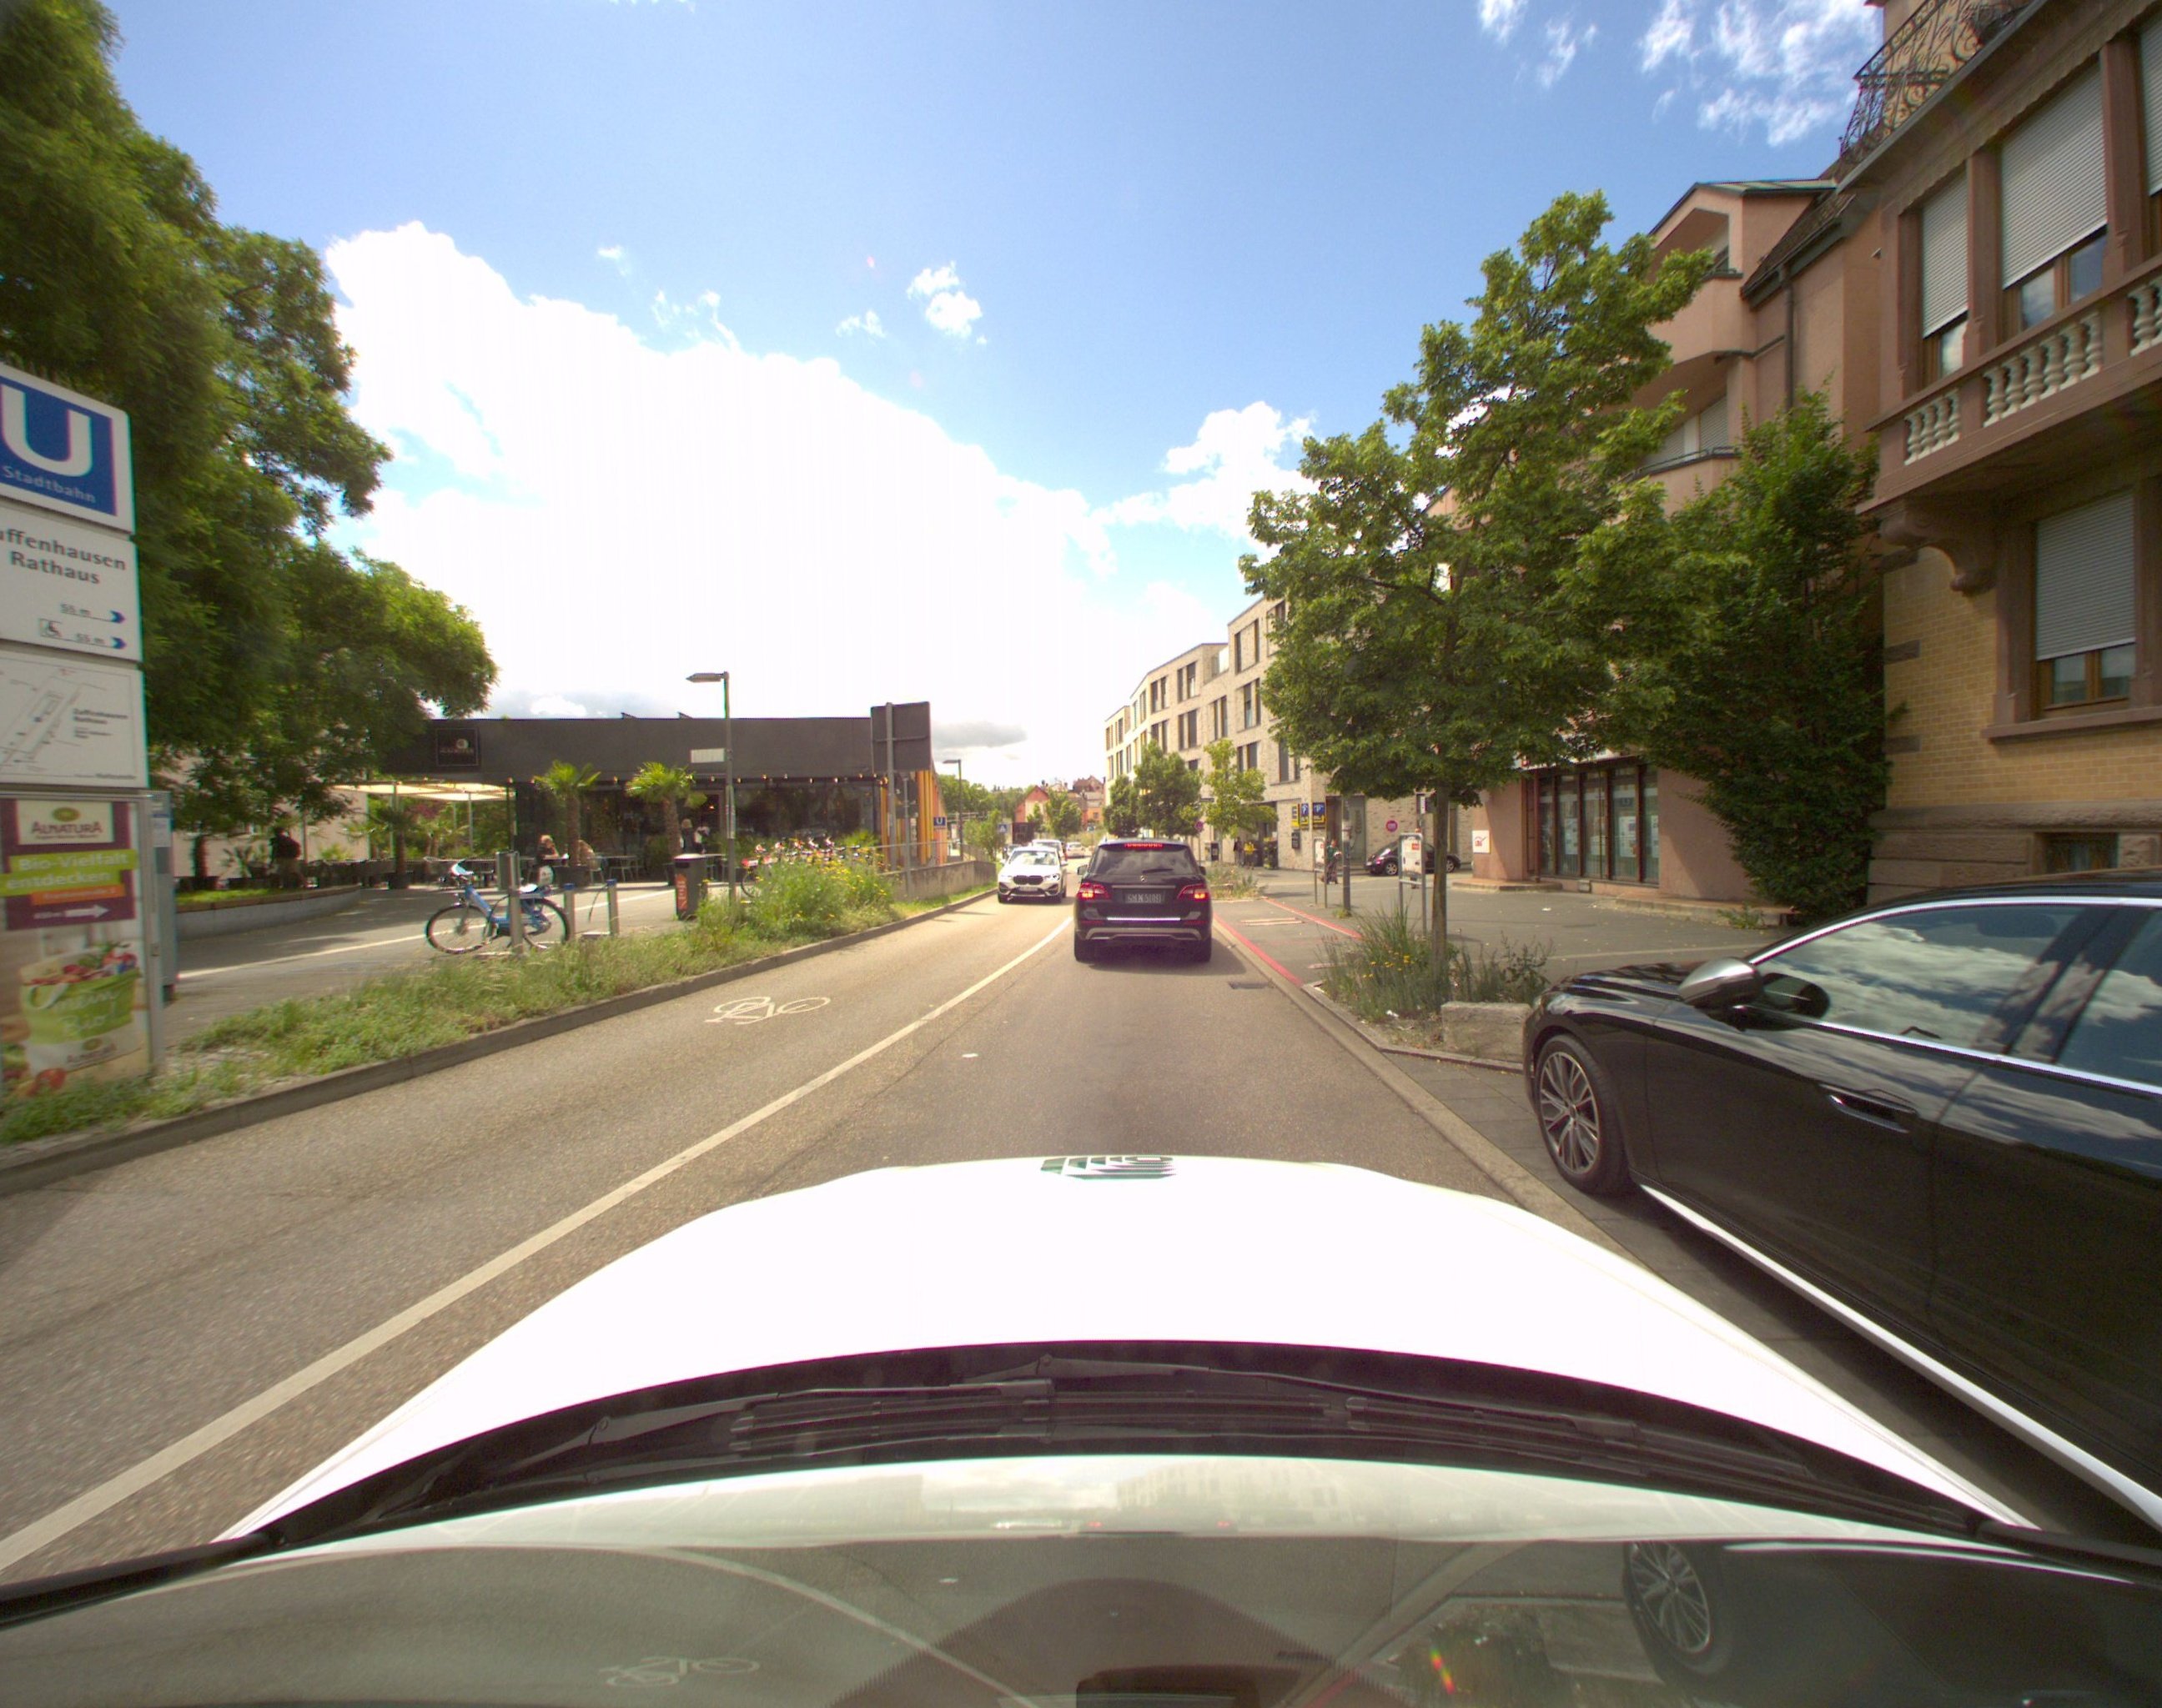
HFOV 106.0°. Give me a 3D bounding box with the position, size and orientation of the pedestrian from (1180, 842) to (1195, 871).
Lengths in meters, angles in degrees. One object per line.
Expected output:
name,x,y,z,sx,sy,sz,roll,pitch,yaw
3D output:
pedestrian,5.999,0.141,45.918,0.809,1.565,0.931,0,-1,3

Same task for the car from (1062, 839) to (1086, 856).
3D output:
car,-0.700,-0.634,77.392,1.692,1.483,3.787,-3,2,-8

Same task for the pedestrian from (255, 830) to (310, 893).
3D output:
pedestrian,-19.929,0.188,20.328,0.731,1.564,0.644,0,-1,3

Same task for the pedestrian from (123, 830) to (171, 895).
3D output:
pedestrian,-26.349,0.252,22.985,0.639,1.808,0.594,0,-1,4

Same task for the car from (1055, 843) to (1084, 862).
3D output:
car,-1.011,-0.153,69.329,1.887,1.465,4.058,-2,1,-8

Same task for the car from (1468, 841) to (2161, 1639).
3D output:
car,2.999,0.696,2.116,1.985,1.414,4.741,-2,0,4

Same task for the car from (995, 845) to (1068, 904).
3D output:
car,-1.384,0.530,24.376,1.816,1.584,4.166,1,1,1

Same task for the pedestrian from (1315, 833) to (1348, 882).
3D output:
pedestrian,8.830,0.117,28.714,0.737,1.638,0.933,-3,1,40

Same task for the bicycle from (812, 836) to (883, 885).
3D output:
bicycle,-5.717,0.155,20.002,1.539,1.127,0.534,-2,1,4

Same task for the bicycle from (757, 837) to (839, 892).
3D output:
bicycle,-6.031,0.218,17.388,1.539,1.127,0.534,-2,1,4

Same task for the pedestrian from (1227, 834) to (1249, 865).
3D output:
pedestrian,9.052,-0.252,47.018,1.016,1.741,0.657,-2,1,-14

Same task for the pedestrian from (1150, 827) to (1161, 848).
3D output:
pedestrian,5.365,-1.165,58.546,0.605,1.472,0.790,-3,2,-2

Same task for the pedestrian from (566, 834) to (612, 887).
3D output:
pedestrian,-13.173,0.170,21.834,0.797,1.379,0.790,0,-1,-9

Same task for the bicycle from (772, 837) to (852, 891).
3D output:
bicycle,-5.962,0.210,18.088,1.539,1.127,0.534,-2,1,4

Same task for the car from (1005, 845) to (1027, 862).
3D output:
car,-5.803,-0.055,72.200,1.771,1.464,4.224,0,1,-7

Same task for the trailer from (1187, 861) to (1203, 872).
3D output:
trailer,5.871,0.666,42.069,0.717,0.528,0.811,-1,0,0

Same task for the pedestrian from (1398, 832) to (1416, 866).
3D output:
pedestrian,15.292,-0.217,38.185,0.524,1.573,0.598,0,-1,-30

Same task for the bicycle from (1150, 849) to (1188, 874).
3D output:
bicycle,4.570,0.370,42.187,1.818,1.201,0.755,-3,0,-4

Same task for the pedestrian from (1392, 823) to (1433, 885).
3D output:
pedestrian,9.437,0.007,23.202,0.714,1.685,0.944,-2,-1,0

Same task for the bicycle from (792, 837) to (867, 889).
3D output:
bicycle,-5.836,0.206,18.947,1.539,1.127,0.534,-2,1,4

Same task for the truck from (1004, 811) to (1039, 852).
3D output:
truck,-7.108,-2.543,95.739,3.204,4.535,8.997,-1,0,-10

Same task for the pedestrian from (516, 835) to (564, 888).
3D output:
pedestrian,-14.371,0.205,21.667,0.797,1.379,0.790,0,-1,-9

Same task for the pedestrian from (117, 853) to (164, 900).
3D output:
pedestrian,-27.133,0.650,23.499,0.639,1.338,0.594,0,-1,4

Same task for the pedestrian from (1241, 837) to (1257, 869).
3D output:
pedestrian,9.091,-0.062,44.025,0.651,1.692,0.636,-1,1,31

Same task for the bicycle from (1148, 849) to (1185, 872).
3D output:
bicycle,4.528,0.320,43.015,1.818,1.131,0.755,-3,0,-4

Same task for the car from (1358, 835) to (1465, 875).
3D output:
car,14.282,0.023,35.282,3.886,1.477,1.781,-3,1,-4

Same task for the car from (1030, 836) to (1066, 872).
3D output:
car,-2.032,-0.036,49.093,1.990,2.013,5.387,0,1,-4

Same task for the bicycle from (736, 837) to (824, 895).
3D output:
bicycle,-6.118,0.239,16.588,1.539,1.127,0.534,-2,1,4

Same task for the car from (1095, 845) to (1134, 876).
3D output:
car,1.736,0.314,43.493,1.722,1.456,3.805,-2,2,-3

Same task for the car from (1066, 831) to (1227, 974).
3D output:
car,0.910,0.578,12.731,1.986,1.746,4.534,-3,1,2

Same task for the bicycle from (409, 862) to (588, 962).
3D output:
bicycle,-6.883,0.675,9.666,1.681,1.081,0.515,-2,2,-1

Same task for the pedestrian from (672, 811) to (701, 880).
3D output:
pedestrian,-11.942,-0.248,24.672,0.632,2.052,0.666,0,-1,-12

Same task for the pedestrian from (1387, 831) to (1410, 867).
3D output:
pedestrian,14.750,-0.239,37.846,0.557,1.671,0.808,0,-1,-30
